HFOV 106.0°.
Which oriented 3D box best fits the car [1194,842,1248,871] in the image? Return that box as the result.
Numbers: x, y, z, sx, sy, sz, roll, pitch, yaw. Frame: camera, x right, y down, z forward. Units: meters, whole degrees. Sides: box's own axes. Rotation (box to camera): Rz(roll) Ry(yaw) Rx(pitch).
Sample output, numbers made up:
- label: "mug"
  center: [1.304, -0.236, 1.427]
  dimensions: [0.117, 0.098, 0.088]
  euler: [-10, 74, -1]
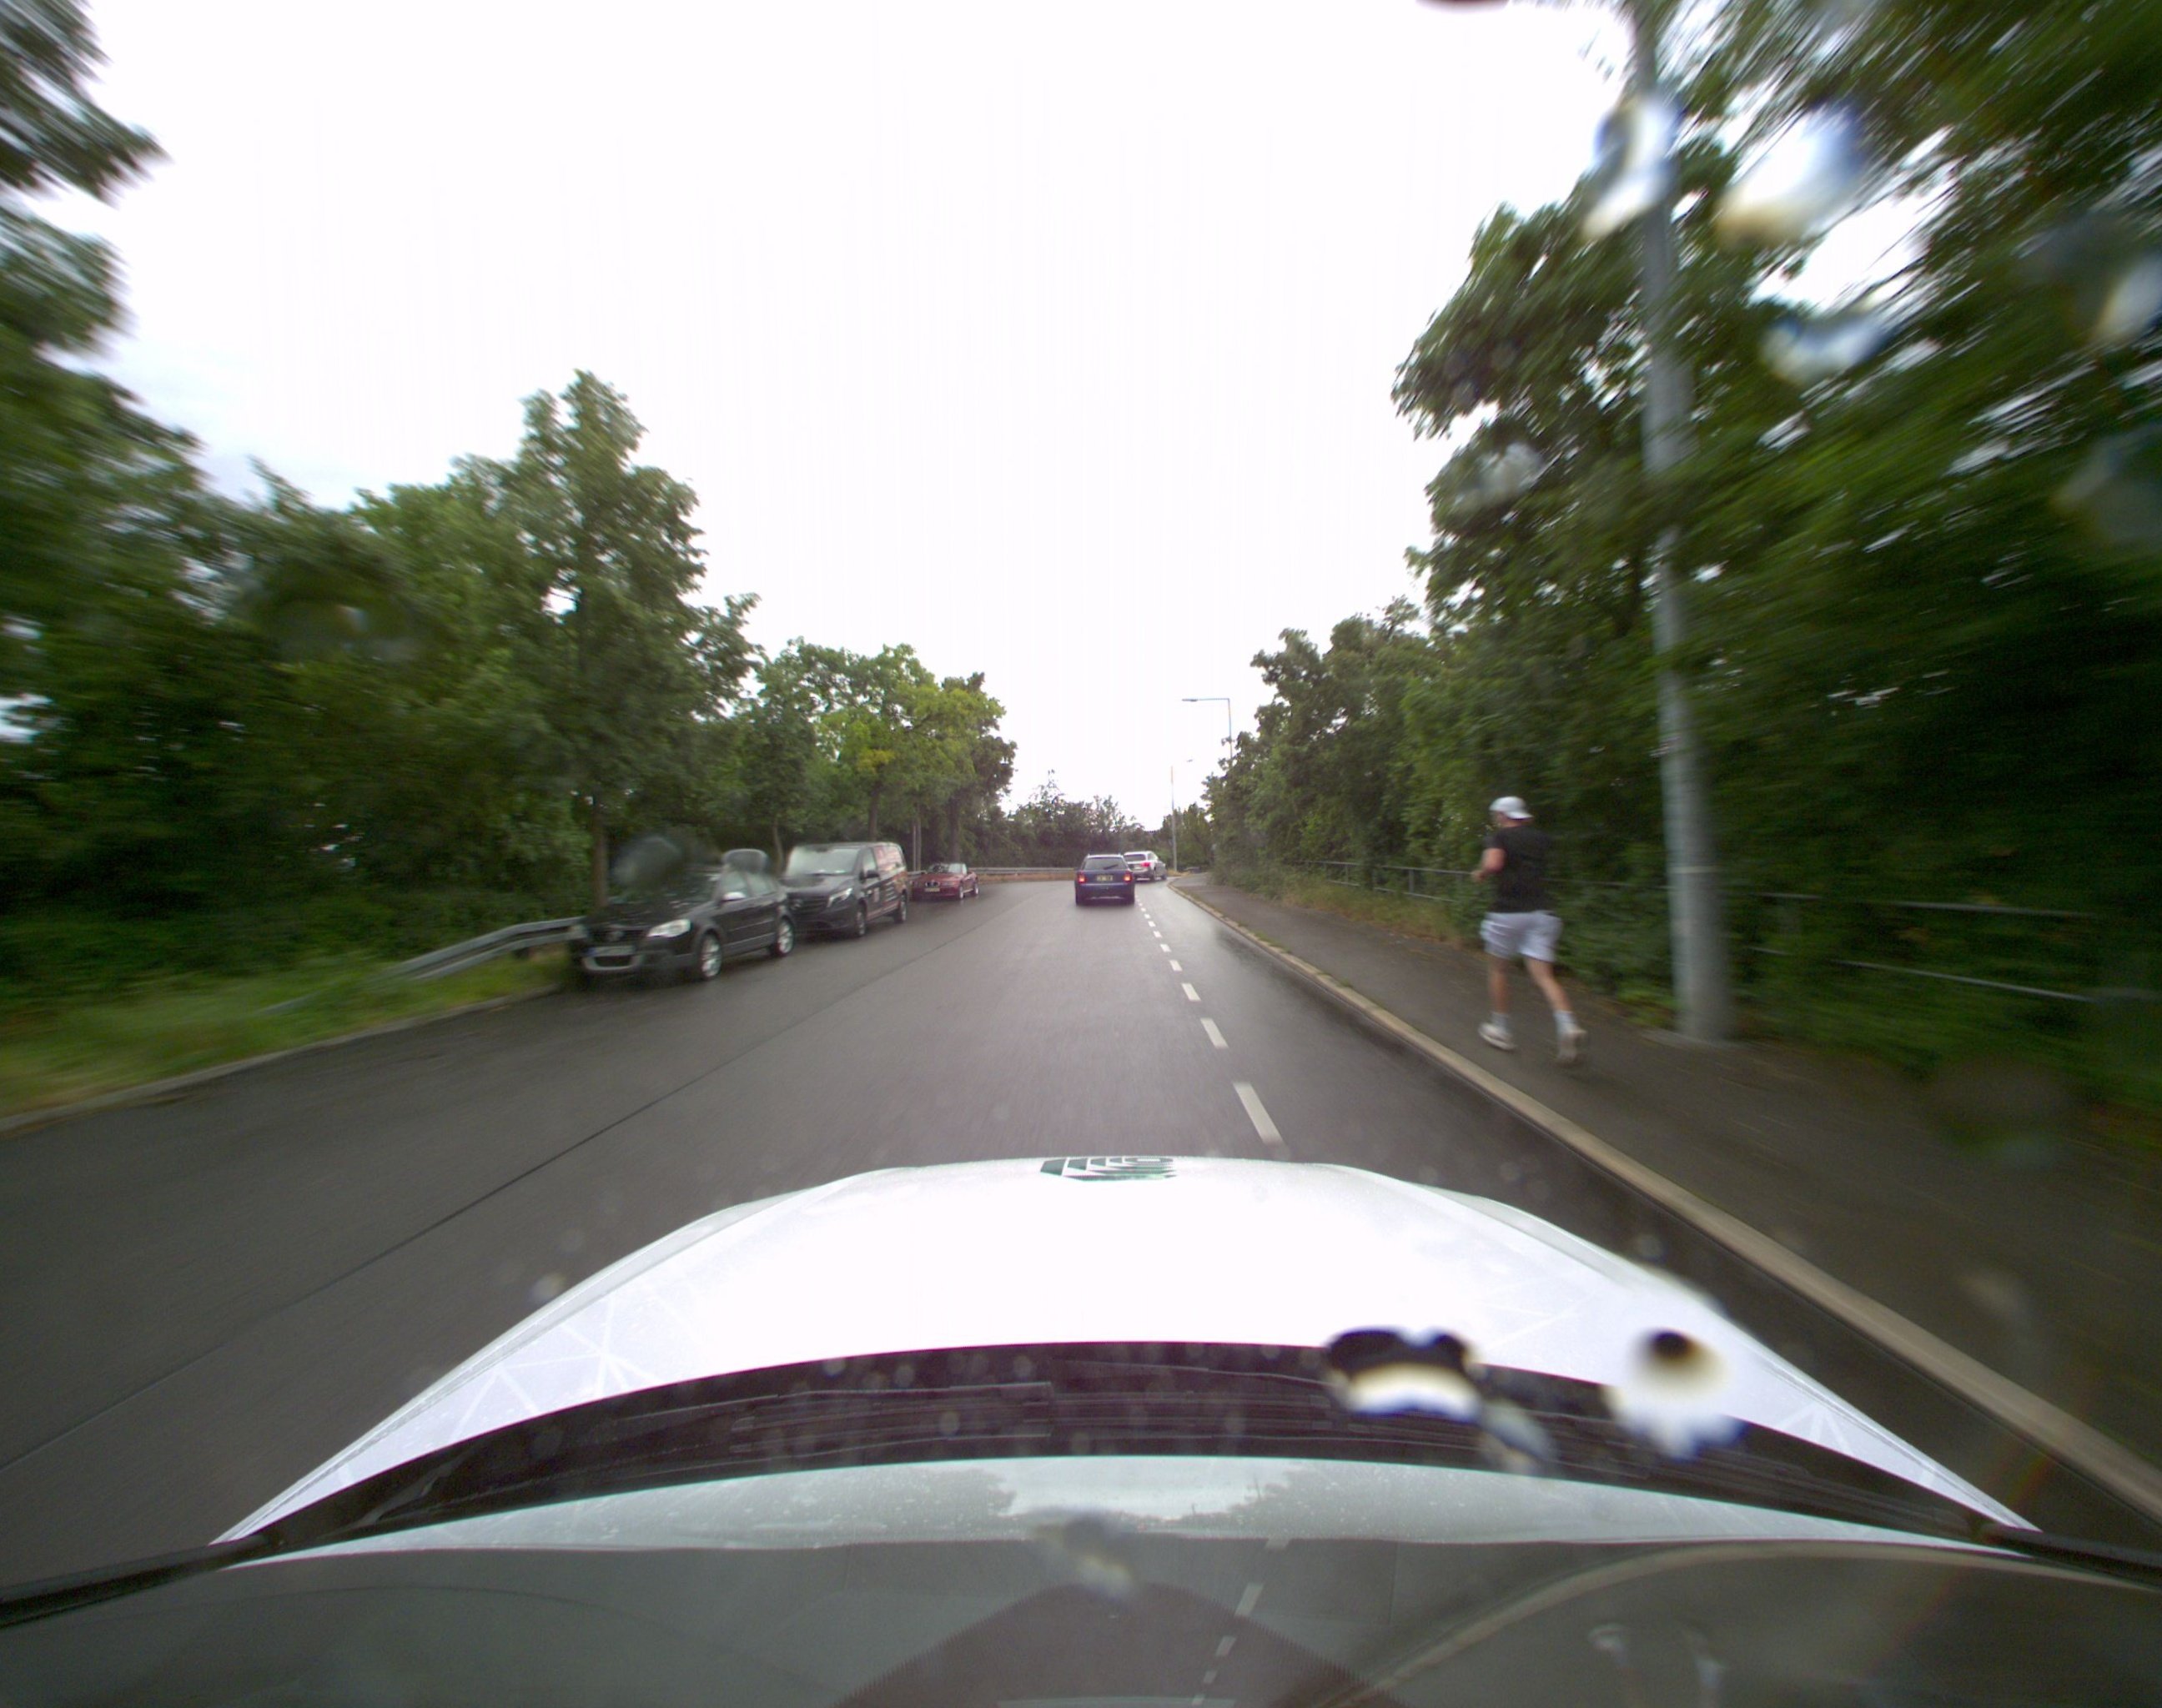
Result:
- label: "car"
  center: [8.580, 0.135, 49.859]
  dimensions: [1.804, 1.617, 3.810]
  euler: [-3, 0, 33]

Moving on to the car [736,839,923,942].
- label: "car"
  center: [-5.157, 0.683, 17.685]
  dimensions: [2.075, 1.819, 5.384]
  euler: [-2, 0, 3]

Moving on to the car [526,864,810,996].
- label: "car"
  center: [-5.574, 0.927, 11.718]
  dimensions: [1.791, 1.437, 4.257]
  euler: [-2, 0, 1]

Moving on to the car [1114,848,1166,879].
- label: "car"
  center: [2.953, 0.459, 40.085]
  dimensions: [1.877, 1.389, 4.015]
  euler: [-2, -1, 13]

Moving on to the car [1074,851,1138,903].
- label: "car"
  center: [0.838, 0.728, 24.690]
  dimensions: [1.739, 1.408, 4.004]
  euler: [-1, -2, 4]

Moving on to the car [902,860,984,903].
- label: "car"
  center: [-4.767, 0.905, 28.720]
  dimensions: [1.781, 1.297, 4.330]
  euler: [-2, 0, 4]

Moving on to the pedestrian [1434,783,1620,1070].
- label: "pedestrian"
  center: [3.130, 0.471, 5.827]
  dimensions: [0.713, 1.835, 1.022]
  euler: [-4, 0, 4]
